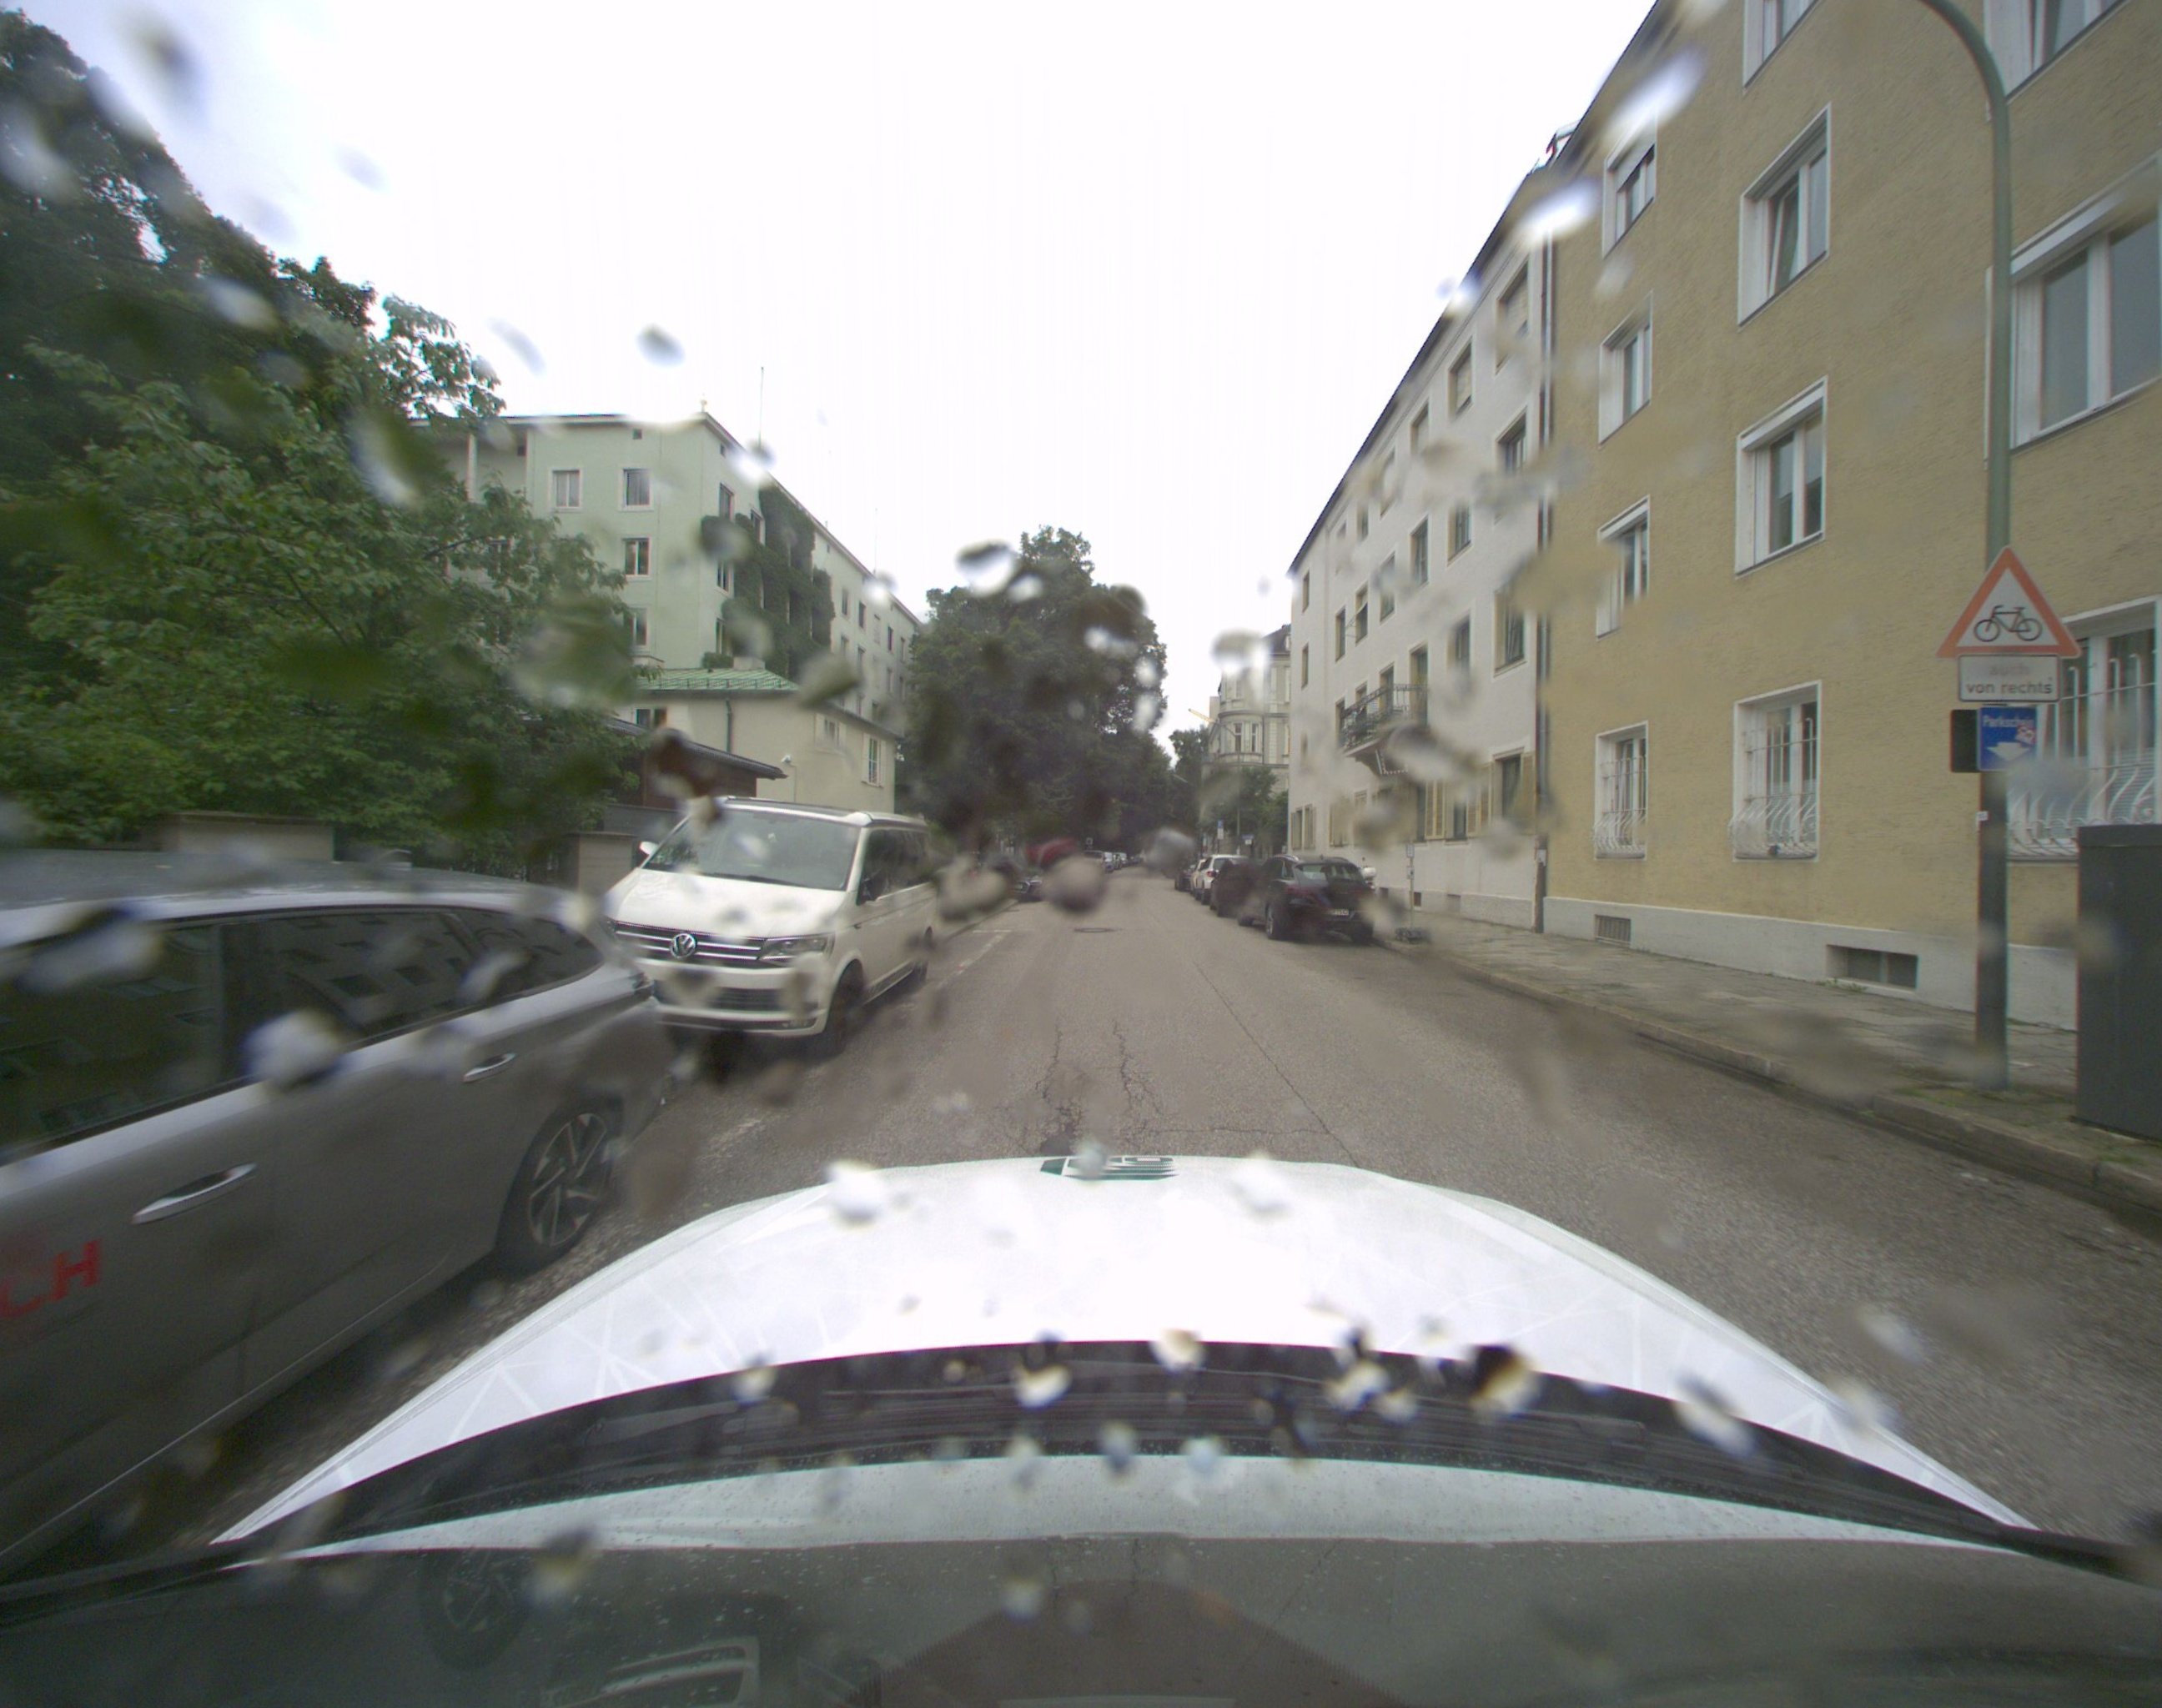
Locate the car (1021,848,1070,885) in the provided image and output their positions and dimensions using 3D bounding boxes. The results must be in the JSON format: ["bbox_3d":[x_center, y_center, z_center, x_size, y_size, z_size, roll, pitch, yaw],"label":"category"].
[{"bbox_3d":[-1.601,0.571,38.461,1.880,1.590,4.530,2,0,2],"label":"car"}]

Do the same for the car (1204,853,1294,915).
[{"bbox_3d":[4.485,0.740,22.375,1.830,1.531,4.420,0,0,4],"label":"car"}]

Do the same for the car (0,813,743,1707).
[{"bbox_3d":[-2.722,0.689,1.972,1.882,1.544,4.694,1,0,-1],"label":"car"}]

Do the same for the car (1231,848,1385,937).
[{"bbox_3d":[4.489,0.688,16.932,1.854,1.577,4.898,0,0,0],"label":"car"}]

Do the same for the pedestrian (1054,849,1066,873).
[{"bbox_3d":[-1.393,0.453,53.725,0.711,1.548,0.752,3,0,-1],"label":"pedestrian"}]

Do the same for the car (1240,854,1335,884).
[{"bbox_3d":[11.527,0.828,45.628,4.887,1.531,1.914,0,2,2],"label":"car"}]

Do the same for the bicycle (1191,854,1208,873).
[{"bbox_3d":[9.541,0.762,65.575,0.708,1.515,2.030,1,0,-12],"label":"bicycle"}]

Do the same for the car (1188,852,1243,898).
[{"bbox_3d":[5.265,0.801,32.285,1.763,1.546,3.716,5,0,5],"label":"car"}]

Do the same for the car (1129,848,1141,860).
[{"bbox_3d":[9.922,0.003,150.772,2.039,2.154,4.316,2,0,2],"label":"car"}]

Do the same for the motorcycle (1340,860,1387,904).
[{"bbox_3d":[8.468,0.808,24.506,0.729,1.239,2.008,2,0,1],"label":"motorcycle"}]

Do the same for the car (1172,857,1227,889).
[{"bbox_3d":[5.316,0.805,37.167,1.992,1.319,4.598,-2,0,2],"label":"car"}]

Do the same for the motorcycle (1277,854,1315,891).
[{"bbox_3d":[8.760,0.737,33.298,0.854,1.433,2.707,1,0,1],"label":"motorcycle"}]

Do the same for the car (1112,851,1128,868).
[{"bbox_3d":[5.352,0.771,111.145,1.993,2.186,4.701,2,0,4],"label":"car"}]

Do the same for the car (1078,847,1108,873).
[{"bbox_3d":[1.059,0.497,66.556,2.239,1.956,5.456,2,0,2],"label":"car"}]

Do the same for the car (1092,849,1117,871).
[{"bbox_3d":[2.289,0.602,78.233,2.175,1.956,5.169,2,0,2],"label":"car"}]

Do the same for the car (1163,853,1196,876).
[{"bbox_3d":[7.182,0.748,59.252,2.260,1.546,4.595,-1,-1,7],"label":"car"}]

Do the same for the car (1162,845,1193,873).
[{"bbox_3d":[7.813,0.426,66.201,2.194,2.208,4.859,-1,-1,3],"label":"car"}]

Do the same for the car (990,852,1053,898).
[{"bbox_3d":[-2.003,0.687,28.727,1.801,1.402,4.923,2,0,0],"label":"car"}]

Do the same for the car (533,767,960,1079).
[{"bbox_3d":[-2.584,0.460,7.948,1.960,1.990,5.150,2,0,0],"label":"car"}]

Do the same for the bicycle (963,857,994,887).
[{"bbox_3d":[-4.077,0.698,32.455,0.645,1.130,2.052,0,0,9],"label":"bicycle"}]

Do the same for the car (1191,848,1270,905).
[{"bbox_3d":[4.965,0.703,27.668,1.985,1.707,4.537,3,0,3],"label":"car"}]

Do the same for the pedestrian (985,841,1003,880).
[{"bbox_3d":[-4.262,0.324,39.879,0.709,1.852,0.797,2,-1,3],"label":"pedestrian"}]
